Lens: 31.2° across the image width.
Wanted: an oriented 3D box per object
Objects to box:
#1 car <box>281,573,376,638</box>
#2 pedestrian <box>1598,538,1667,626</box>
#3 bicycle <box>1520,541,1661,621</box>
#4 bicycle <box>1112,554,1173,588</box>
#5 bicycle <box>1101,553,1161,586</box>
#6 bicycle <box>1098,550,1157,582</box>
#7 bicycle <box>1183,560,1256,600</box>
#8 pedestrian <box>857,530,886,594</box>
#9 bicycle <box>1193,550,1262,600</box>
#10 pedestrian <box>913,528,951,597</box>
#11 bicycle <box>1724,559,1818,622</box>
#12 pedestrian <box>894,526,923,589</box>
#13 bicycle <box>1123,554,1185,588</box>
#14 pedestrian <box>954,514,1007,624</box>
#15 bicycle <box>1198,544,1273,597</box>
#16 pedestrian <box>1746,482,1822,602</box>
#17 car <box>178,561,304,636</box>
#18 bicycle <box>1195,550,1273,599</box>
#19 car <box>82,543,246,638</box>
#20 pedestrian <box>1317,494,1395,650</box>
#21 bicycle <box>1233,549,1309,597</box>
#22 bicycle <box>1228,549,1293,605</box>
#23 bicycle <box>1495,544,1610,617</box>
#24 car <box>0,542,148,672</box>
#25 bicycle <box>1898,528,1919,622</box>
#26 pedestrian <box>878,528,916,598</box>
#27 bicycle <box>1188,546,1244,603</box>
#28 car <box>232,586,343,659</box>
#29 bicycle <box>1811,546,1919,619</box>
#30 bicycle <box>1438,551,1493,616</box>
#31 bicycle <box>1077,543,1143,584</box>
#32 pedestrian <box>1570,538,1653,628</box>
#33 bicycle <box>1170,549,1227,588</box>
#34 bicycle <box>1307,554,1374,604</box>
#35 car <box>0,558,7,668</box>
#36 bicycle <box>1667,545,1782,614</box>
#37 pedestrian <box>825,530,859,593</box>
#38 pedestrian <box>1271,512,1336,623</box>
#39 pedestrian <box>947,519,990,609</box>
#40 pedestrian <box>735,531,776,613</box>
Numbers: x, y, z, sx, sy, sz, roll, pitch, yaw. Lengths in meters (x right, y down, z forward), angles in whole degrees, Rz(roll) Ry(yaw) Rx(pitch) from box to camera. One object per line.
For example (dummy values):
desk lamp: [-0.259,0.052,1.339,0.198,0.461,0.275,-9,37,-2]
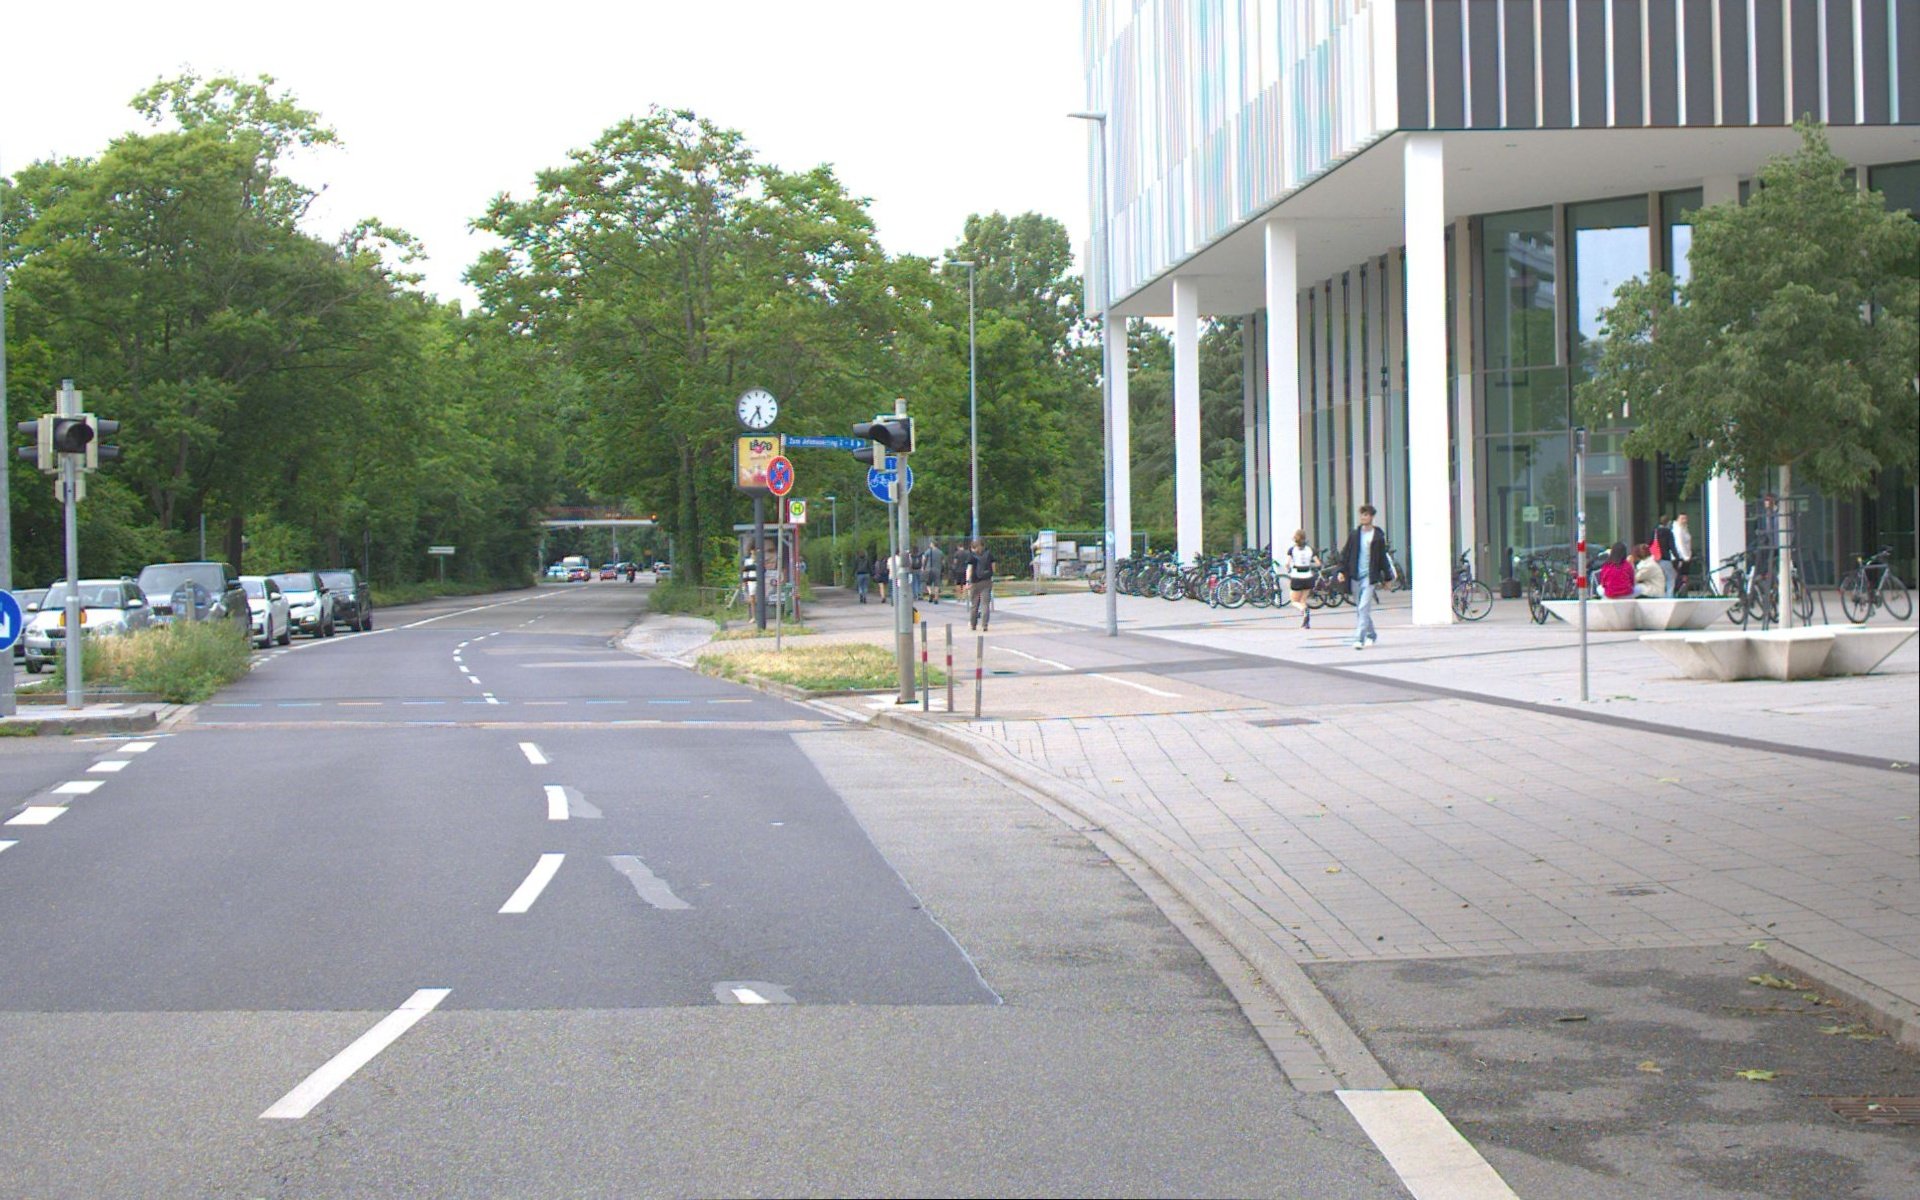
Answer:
car: [-16.400,0.119,89.474,1.902,1.588,4.517,-2,1,-4]
pedestrian: [9.349,-0.255,47.820,0.892,1.189,0.845,-1,1,10]
bicycle: [9.952,-0.306,54.183,0.774,1.184,2.713,-1,1,44]
bicycle: [5.044,-0.803,95.163,1.606,0.872,0.556,-2,1,-3]
bicycle: [4.813,-0.859,96.754,1.606,0.872,0.556,-2,1,-3]
bicycle: [4.806,-0.975,98.571,1.606,0.872,0.556,-2,1,-8]
bicycle: [6.017,-0.470,79.623,1.606,0.872,0.556,-2,1,-3]
pedestrian: [-2.848,-1.226,110.715,0.823,2.007,0.720,-2,1,-8]
bicycle: [5.925,-0.557,76.171,1.400,1.040,0.559,-3,1,-3]
pedestrian: [-0.823,-1.106,101.195,0.925,2.007,1.040,-2,1,-8]
bicycle: [12.190,-0.151,51.654,0.671,0.896,1.842,-1,1,37]
pedestrian: [-1.645,-1.369,110.718,0.824,2.007,0.720,-2,1,-5]
bicycle: [5.311,-0.798,93.988,1.606,0.872,0.556,-2,1,-3]
pedestrian: [0.374,-0.587,64.578,0.842,2.007,0.894,-3,1,-2]
bicycle: [6.275,-0.682,78.350,1.644,1.087,0.572,-4,1,5]
pedestrian: [14.348,-1.004,59.915,1.182,2.055,1.135,1,1,9]
car: [-14.775,-0.059,70.884,1.903,1.460,4.912,1,1,-4]
bicycle: [6.112,-0.579,76.753,1.606,0.979,0.556,-4,1,-3]
car: [-14.743,-0.207,63.919,1.993,1.681,4.948,0,1,-1]
pedestrian: [5.183,-0.373,45.079,0.842,2.007,0.894,-1,1,-2]
bicycle: [6.814,-0.589,75.311,1.606,0.932,0.568,-4,2,7]
bicycle: [6.088,-0.471,69.774,0.607,1.076,1.963,-4,1,-15]
bicycle: [9.583,-0.322,55.564,0.736,1.112,2.178,-1,1,43]
car: [-14.652,0.085,56.267,1.993,2.007,4.001,-2,1,-4]
bicycle: [14.368,-0.393,48.911,2.001,1.301,0.646,-3,3,-25]
pedestrian: [-1.855,-1.091,101.206,0.925,2.007,1.040,-2,1,-8]
bicycle: [5.385,-0.532,72.538,0.635,1.136,2.201,-4,1,-8]
car: [-15.659,0.506,80.244,1.993,1.541,4.180,-3,1,-4]
bicycle: [13.457,-0.262,50.041,2.185,1.002,0.782,-2,1,-34]
bicycle: [8.467,-0.284,57.644,0.638,1.058,1.840,1,1,0]
bicycle: [4.339,-1.057,99.685,1.794,1.078,0.626,-4,1,-5]
pedestrian: [8.945,-0.232,47.194,0.844,1.202,0.893,-1,1,30]
bicycle: [5.762,-0.766,83.056,1.283,0.872,0.556,-2,1,-3]
bicycle: [7.508,-0.412,67.859,1.484,0.926,0.440,-3,3,-43]
car: [-13.532,0.202,43.149,1.957,1.578,4.256,-3,2,-1]
bicycle: [11.646,-0.320,52.348,0.774,0.998,1.955,-1,1,44]
pedestrian: [-3.789,-1.242,110.684,0.925,2.007,1.040,-2,1,-8]
pedestrian: [5.749,-0.549,57.527,0.842,1.829,0.894,-1,1,-10]
pedestrian: [0.181,-0.820,77.673,0.842,2.007,0.894,-1,1,-6]
pedestrian: [-5.230,-0.718,87.879,0.912,2.006,0.854,-3,3,-5]
